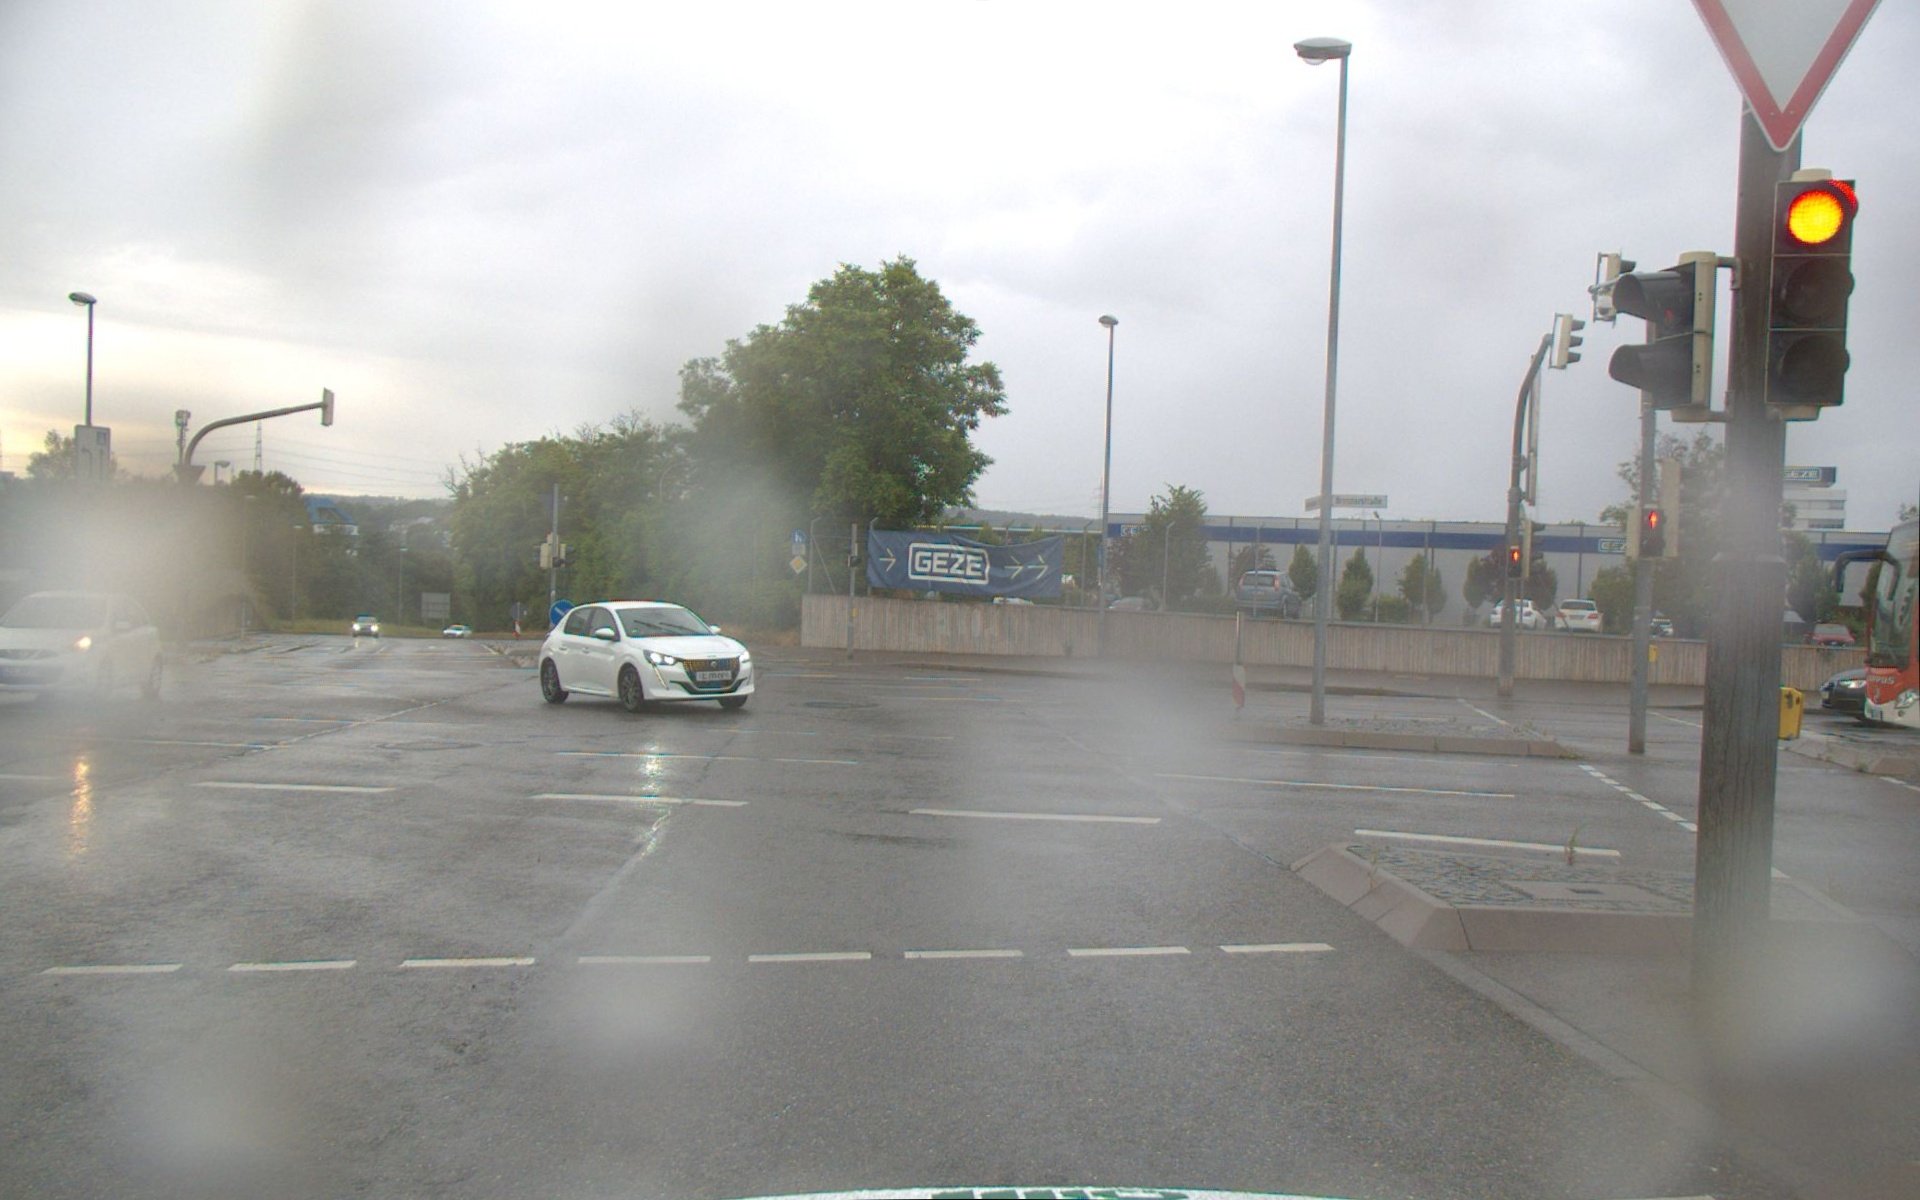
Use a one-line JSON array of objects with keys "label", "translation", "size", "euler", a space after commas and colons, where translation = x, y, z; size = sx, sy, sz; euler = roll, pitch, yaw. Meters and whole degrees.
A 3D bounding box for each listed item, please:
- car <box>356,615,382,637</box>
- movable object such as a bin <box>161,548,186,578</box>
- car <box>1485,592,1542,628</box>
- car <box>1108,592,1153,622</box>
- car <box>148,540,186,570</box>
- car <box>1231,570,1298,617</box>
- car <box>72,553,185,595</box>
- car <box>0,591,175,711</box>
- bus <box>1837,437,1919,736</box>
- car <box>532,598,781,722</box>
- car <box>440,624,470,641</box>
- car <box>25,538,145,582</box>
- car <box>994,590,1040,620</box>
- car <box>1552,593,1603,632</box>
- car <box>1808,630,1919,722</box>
[{"label": "car", "translation": [-42.192, 1.847, 118.058], "size": [1.637, 1.521, 3.975], "euler": [1, -1, -21]}, {"label": "movable object such as a bin", "translation": [-40.965, -1.919, 86.171], "size": [1.071, 1.462, 1.434], "euler": [3, -2, -27]}, {"label": "car", "translation": [23.031, 0.425, 68.703], "size": [1.781, 1.459, 4.100], "euler": [1, 0, 25]}, {"label": "car", "translation": [9.584, 0.399, 92.745], "size": [1.632, 1.634, 3.531], "euler": [1, 0, 20]}, {"label": "car", "translation": [-45.327, -2.553, 94.521], "size": [1.806, 1.467, 3.964], "euler": [3, -2, -27]}, {"label": "car", "translation": [10.646, -0.211, 57.606], "size": [1.707, 1.580, 3.531], "euler": [1, 0, 20]}, {"label": "car", "translation": [-35.419, -1.109, 70.525], "size": [3.902, 1.614, 1.903], "euler": [1, -2, 12]}, {"label": "car", "translation": [-12.454, 0.653, 23.297], "size": [1.591, 1.531, 3.813], "euler": [0, 1, -11]}, {"label": "bus", "translation": [17.630, 0.155, 19.905], "size": [11.995, 3.638, 2.988], "euler": [3, 0, 17]}, {"label": "car", "translation": [-4.315, 0.774, 23.105], "size": [1.852, 1.534, 3.927], "euler": [1, 0, -38]}, {"label": "car", "translation": [-49.403, 3.180, 161.990], "size": [1.685, 1.521, 3.999], "euler": [1, -1, 0]}, {"label": "car", "translation": [-35.852, -1.631, 67.832], "size": [3.902, 1.614, 1.903], "euler": [1, -2, 8]}, {"label": "car", "translation": [3.349, 0.303, 95.953], "size": [1.632, 1.634, 3.531], "euler": [1, 0, 20]}, {"label": "car", "translation": [25.447, 0.512, 68.109], "size": [1.820, 1.552, 4.103], "euler": [1, 0, 22]}, {"label": "car", "translation": [16.262, 1.261, 26.693], "size": [4.286, 1.378, 1.827], "euler": [2, 0, 16]}]
